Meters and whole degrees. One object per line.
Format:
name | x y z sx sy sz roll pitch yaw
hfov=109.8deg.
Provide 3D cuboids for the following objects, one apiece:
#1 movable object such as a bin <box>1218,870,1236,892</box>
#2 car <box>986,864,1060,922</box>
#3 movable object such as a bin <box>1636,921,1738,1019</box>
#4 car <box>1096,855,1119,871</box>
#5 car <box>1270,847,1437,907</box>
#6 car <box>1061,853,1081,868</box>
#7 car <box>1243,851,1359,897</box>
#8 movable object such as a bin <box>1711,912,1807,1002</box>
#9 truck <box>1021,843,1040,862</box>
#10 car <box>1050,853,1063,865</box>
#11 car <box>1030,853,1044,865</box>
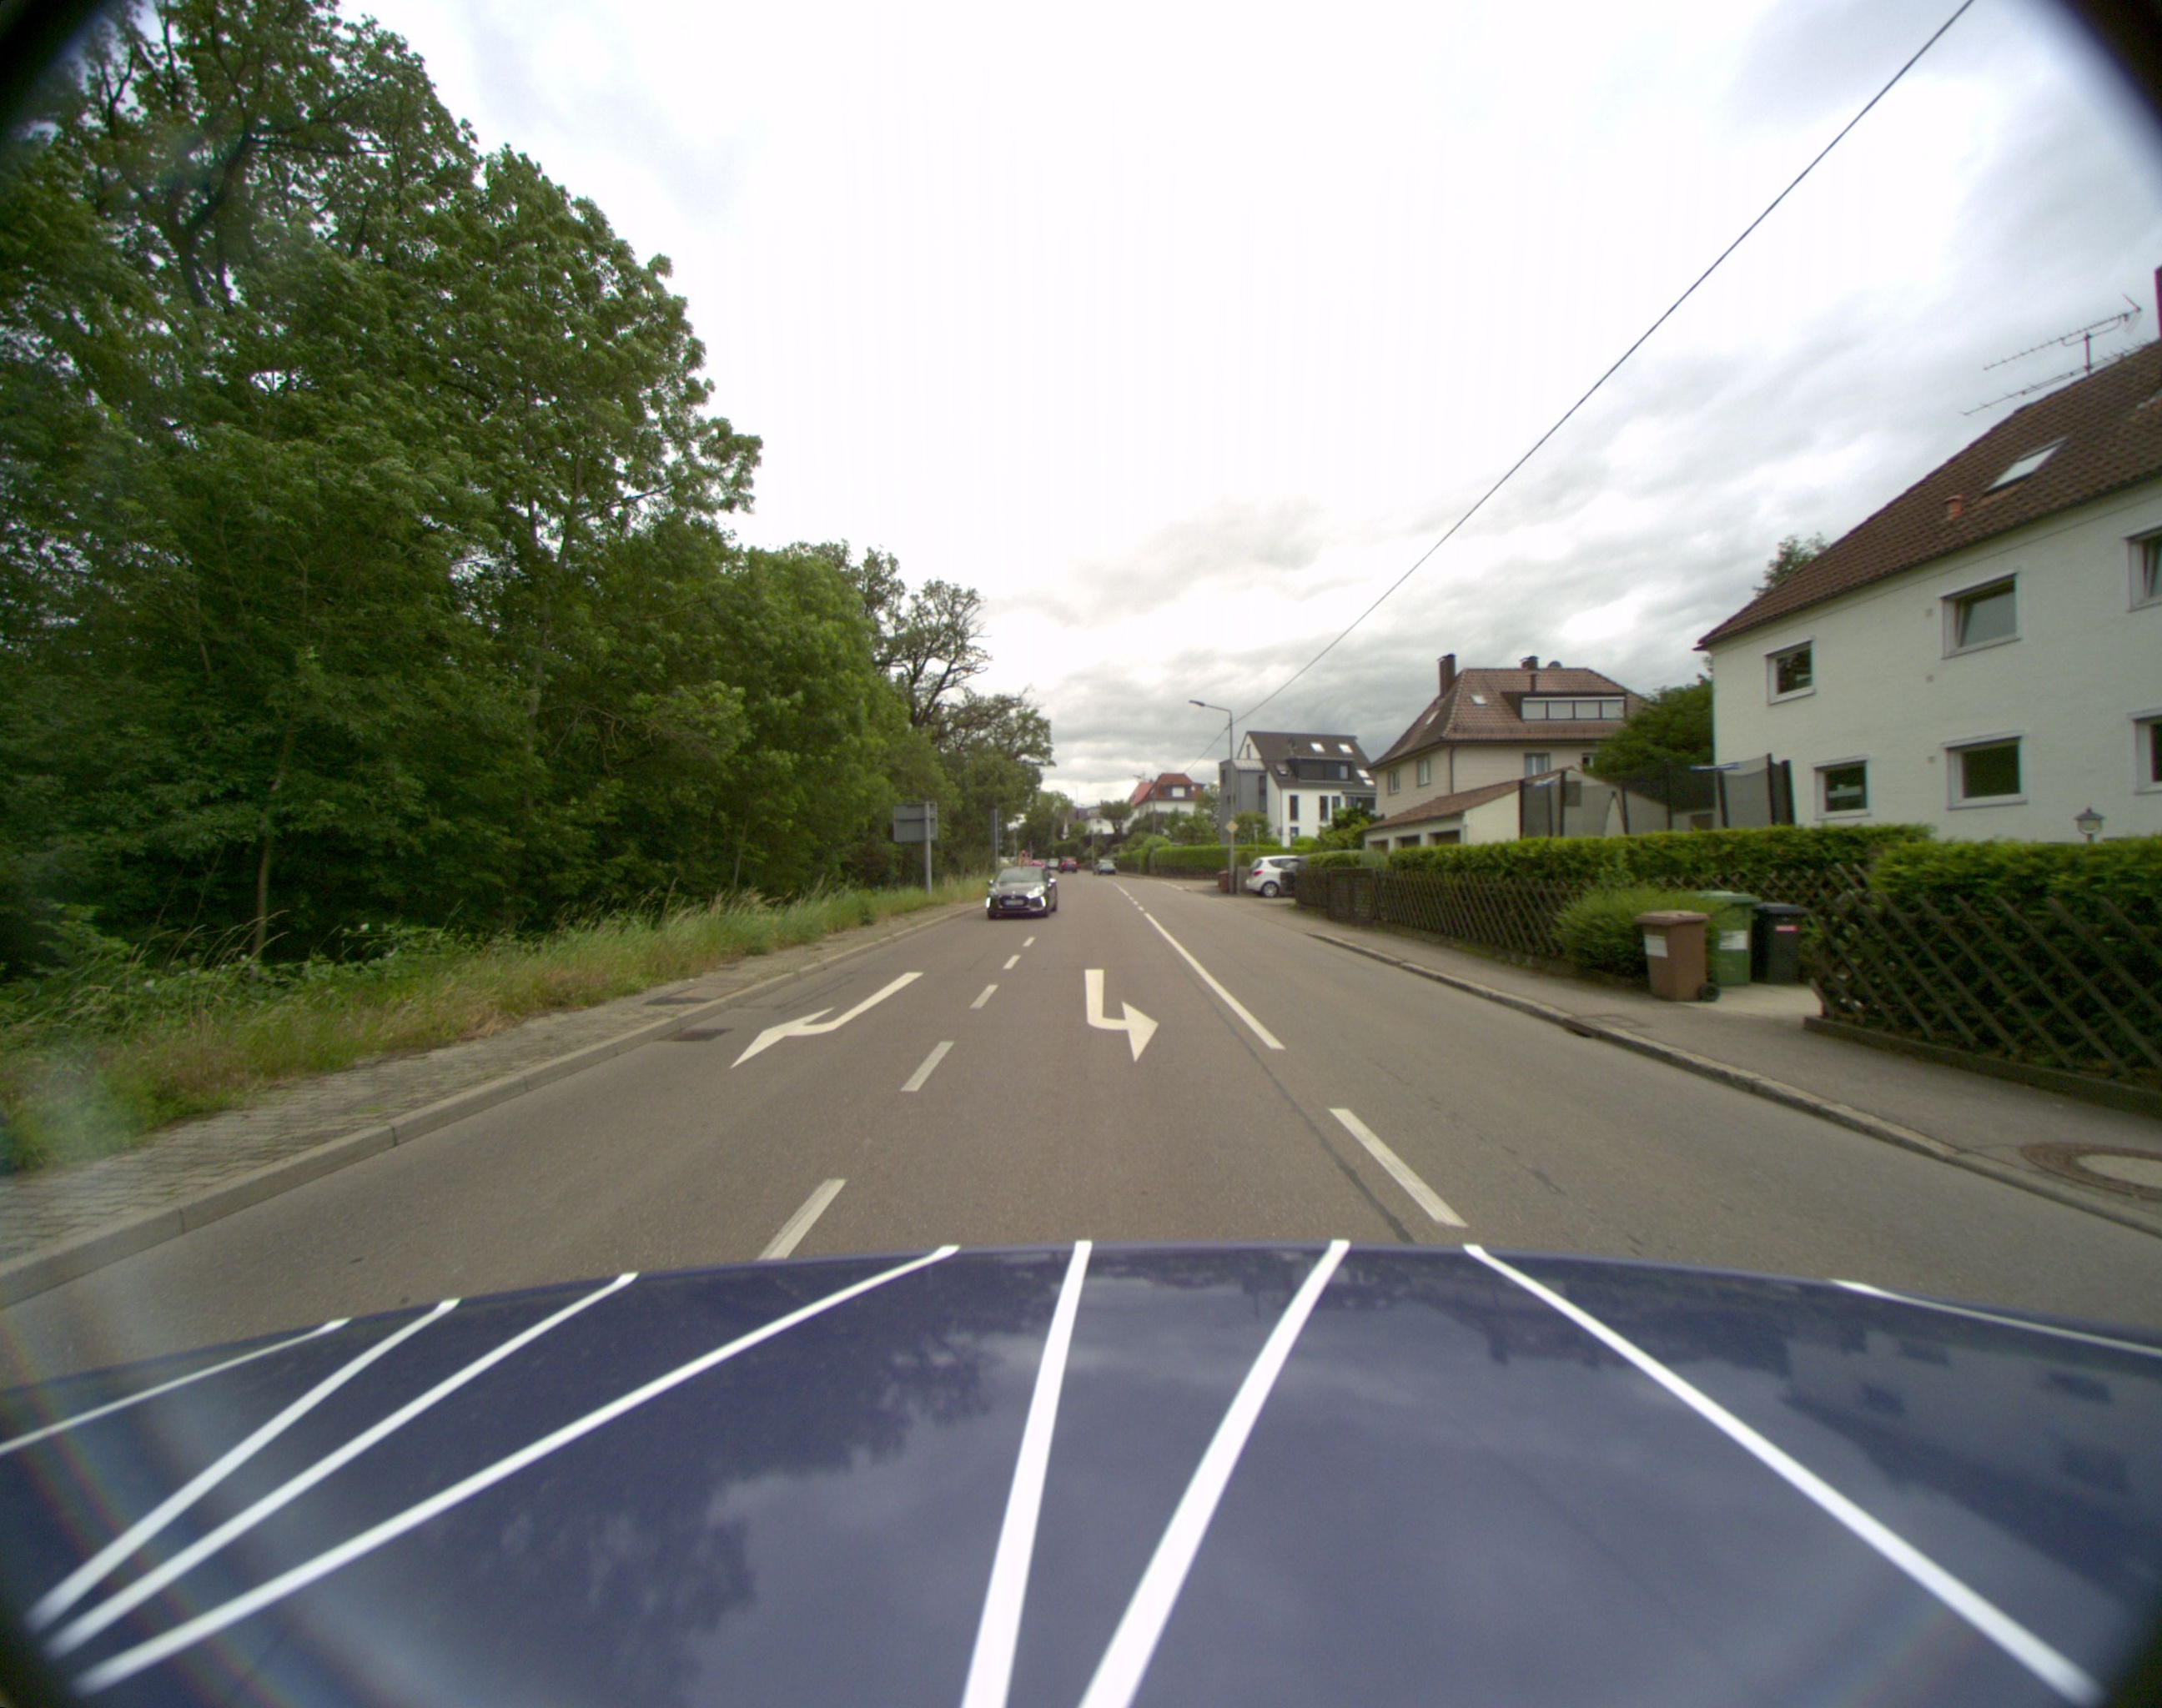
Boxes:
movable object such as a bin | 6.346 1.160 32.991 0.689 0.948 0.572 0 1 16
car | -1.609 1.077 22.368 1.730 1.449 3.855 -2 0 2
movable object such as a bin | 6.195 1.166 7.797 0.634 0.908 0.561 0 1 14
car | 2.620 0.903 75.403 1.840 1.514 3.998 0 0 -5
car | 8.722 0.712 24.608 4.682 1.660 1.882 -3 0 0
car | -1.163 0.719 86.599 1.818 1.590 3.954 -2 0 -6
car | 8.596 0.760 29.906 3.997 1.584 1.718 -3 0 1
movable object such as a bin | 7.664 1.148 8.610 0.634 0.947 0.512 0 1 4
truck | -9.805 -0.230 147.170 3.008 3.618 7.083 -1 0 -8
car | -3.680 0.767 112.781 1.832 1.665 3.998 0 1 -3
car | -6.576 0.766 112.482 1.999 1.749 3.998 -1 0 -4
